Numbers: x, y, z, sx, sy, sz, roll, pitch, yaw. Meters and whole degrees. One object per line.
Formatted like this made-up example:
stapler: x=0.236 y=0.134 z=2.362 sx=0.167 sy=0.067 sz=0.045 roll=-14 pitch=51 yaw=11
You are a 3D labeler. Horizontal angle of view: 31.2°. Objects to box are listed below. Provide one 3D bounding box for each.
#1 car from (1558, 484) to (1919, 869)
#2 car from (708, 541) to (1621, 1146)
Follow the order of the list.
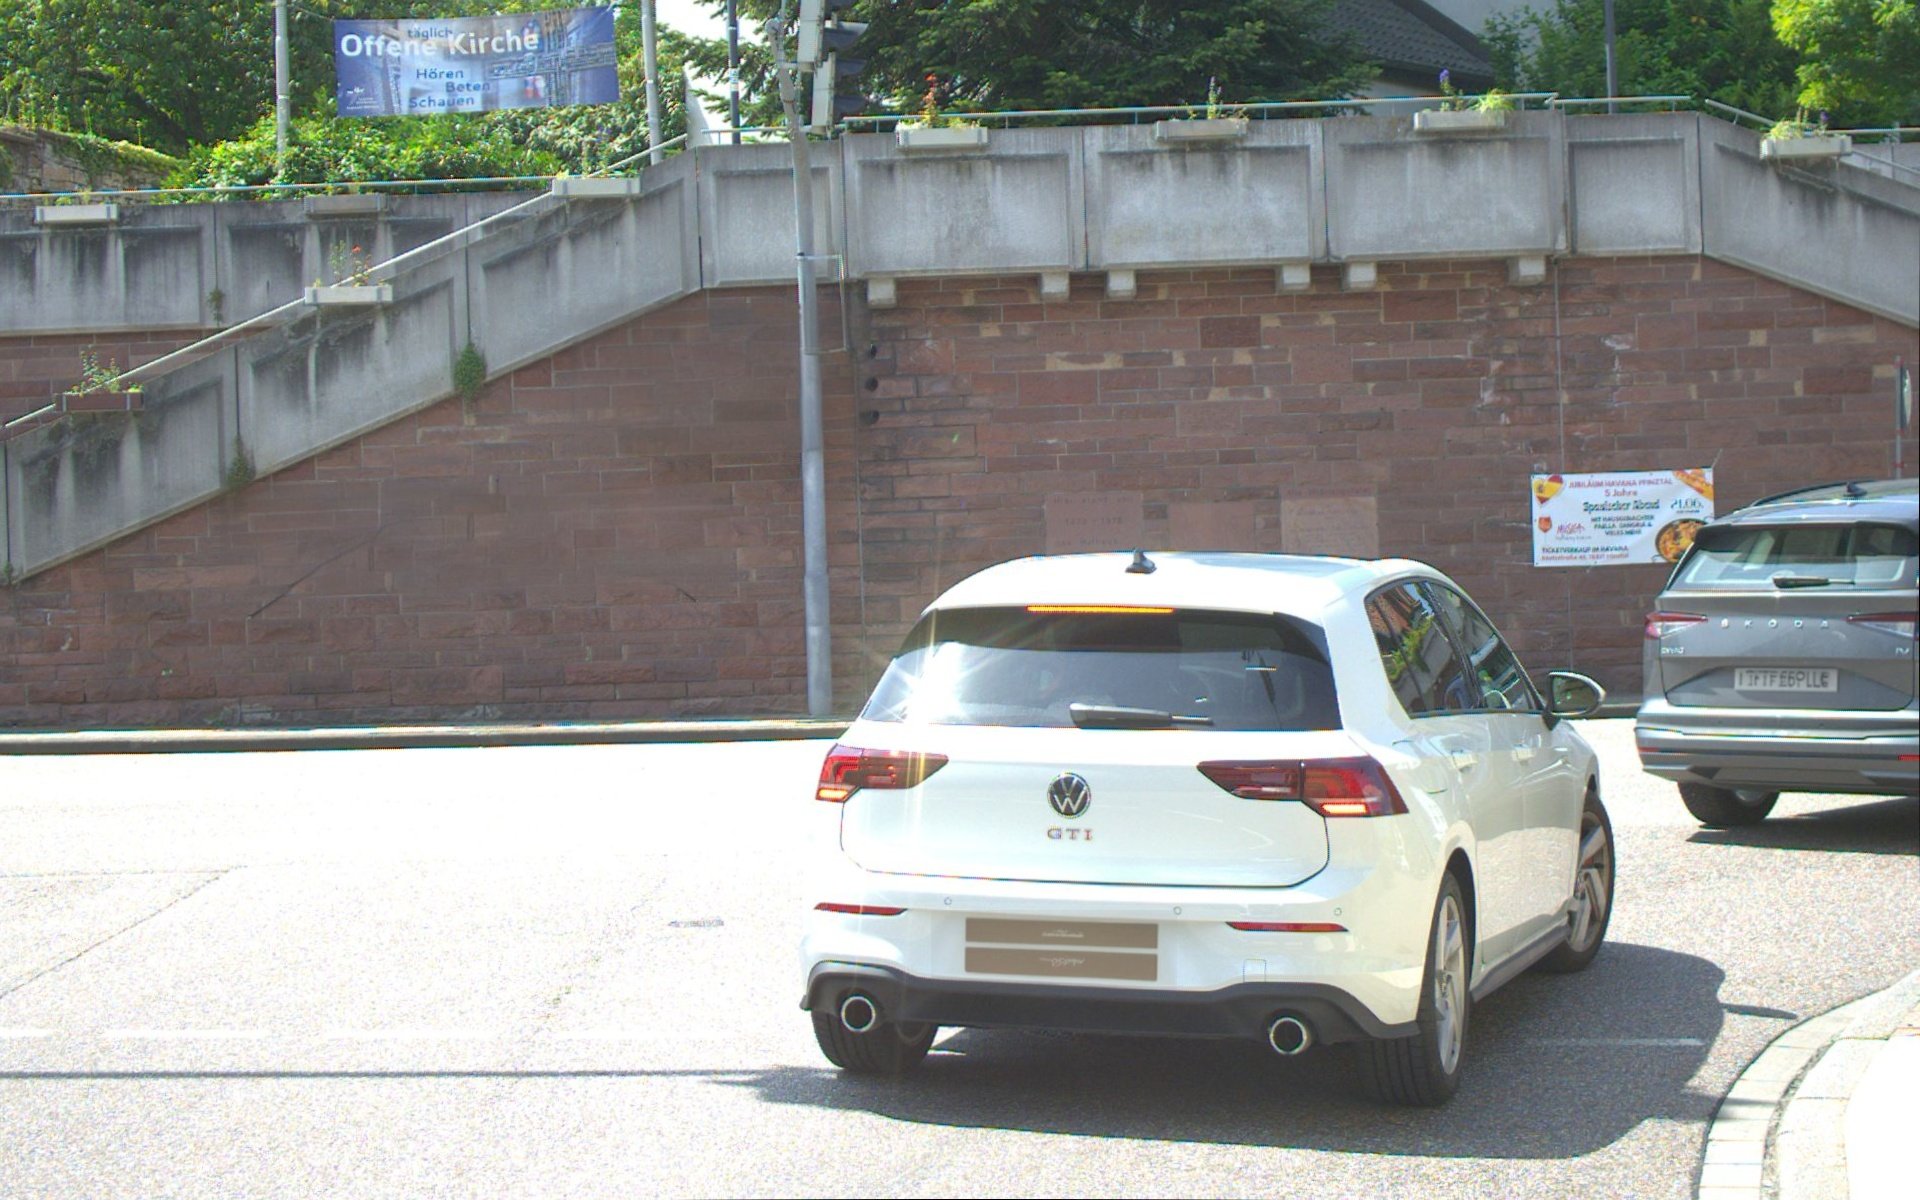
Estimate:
car: x=4.923 y=0.241 z=16.492 sx=1.954 sy=1.577 sz=4.315 roll=1 pitch=3 yaw=44
car: x=0.825 y=0.577 z=10.386 sx=1.784 sy=1.453 sz=3.859 roll=-2 pitch=0 yaw=18
